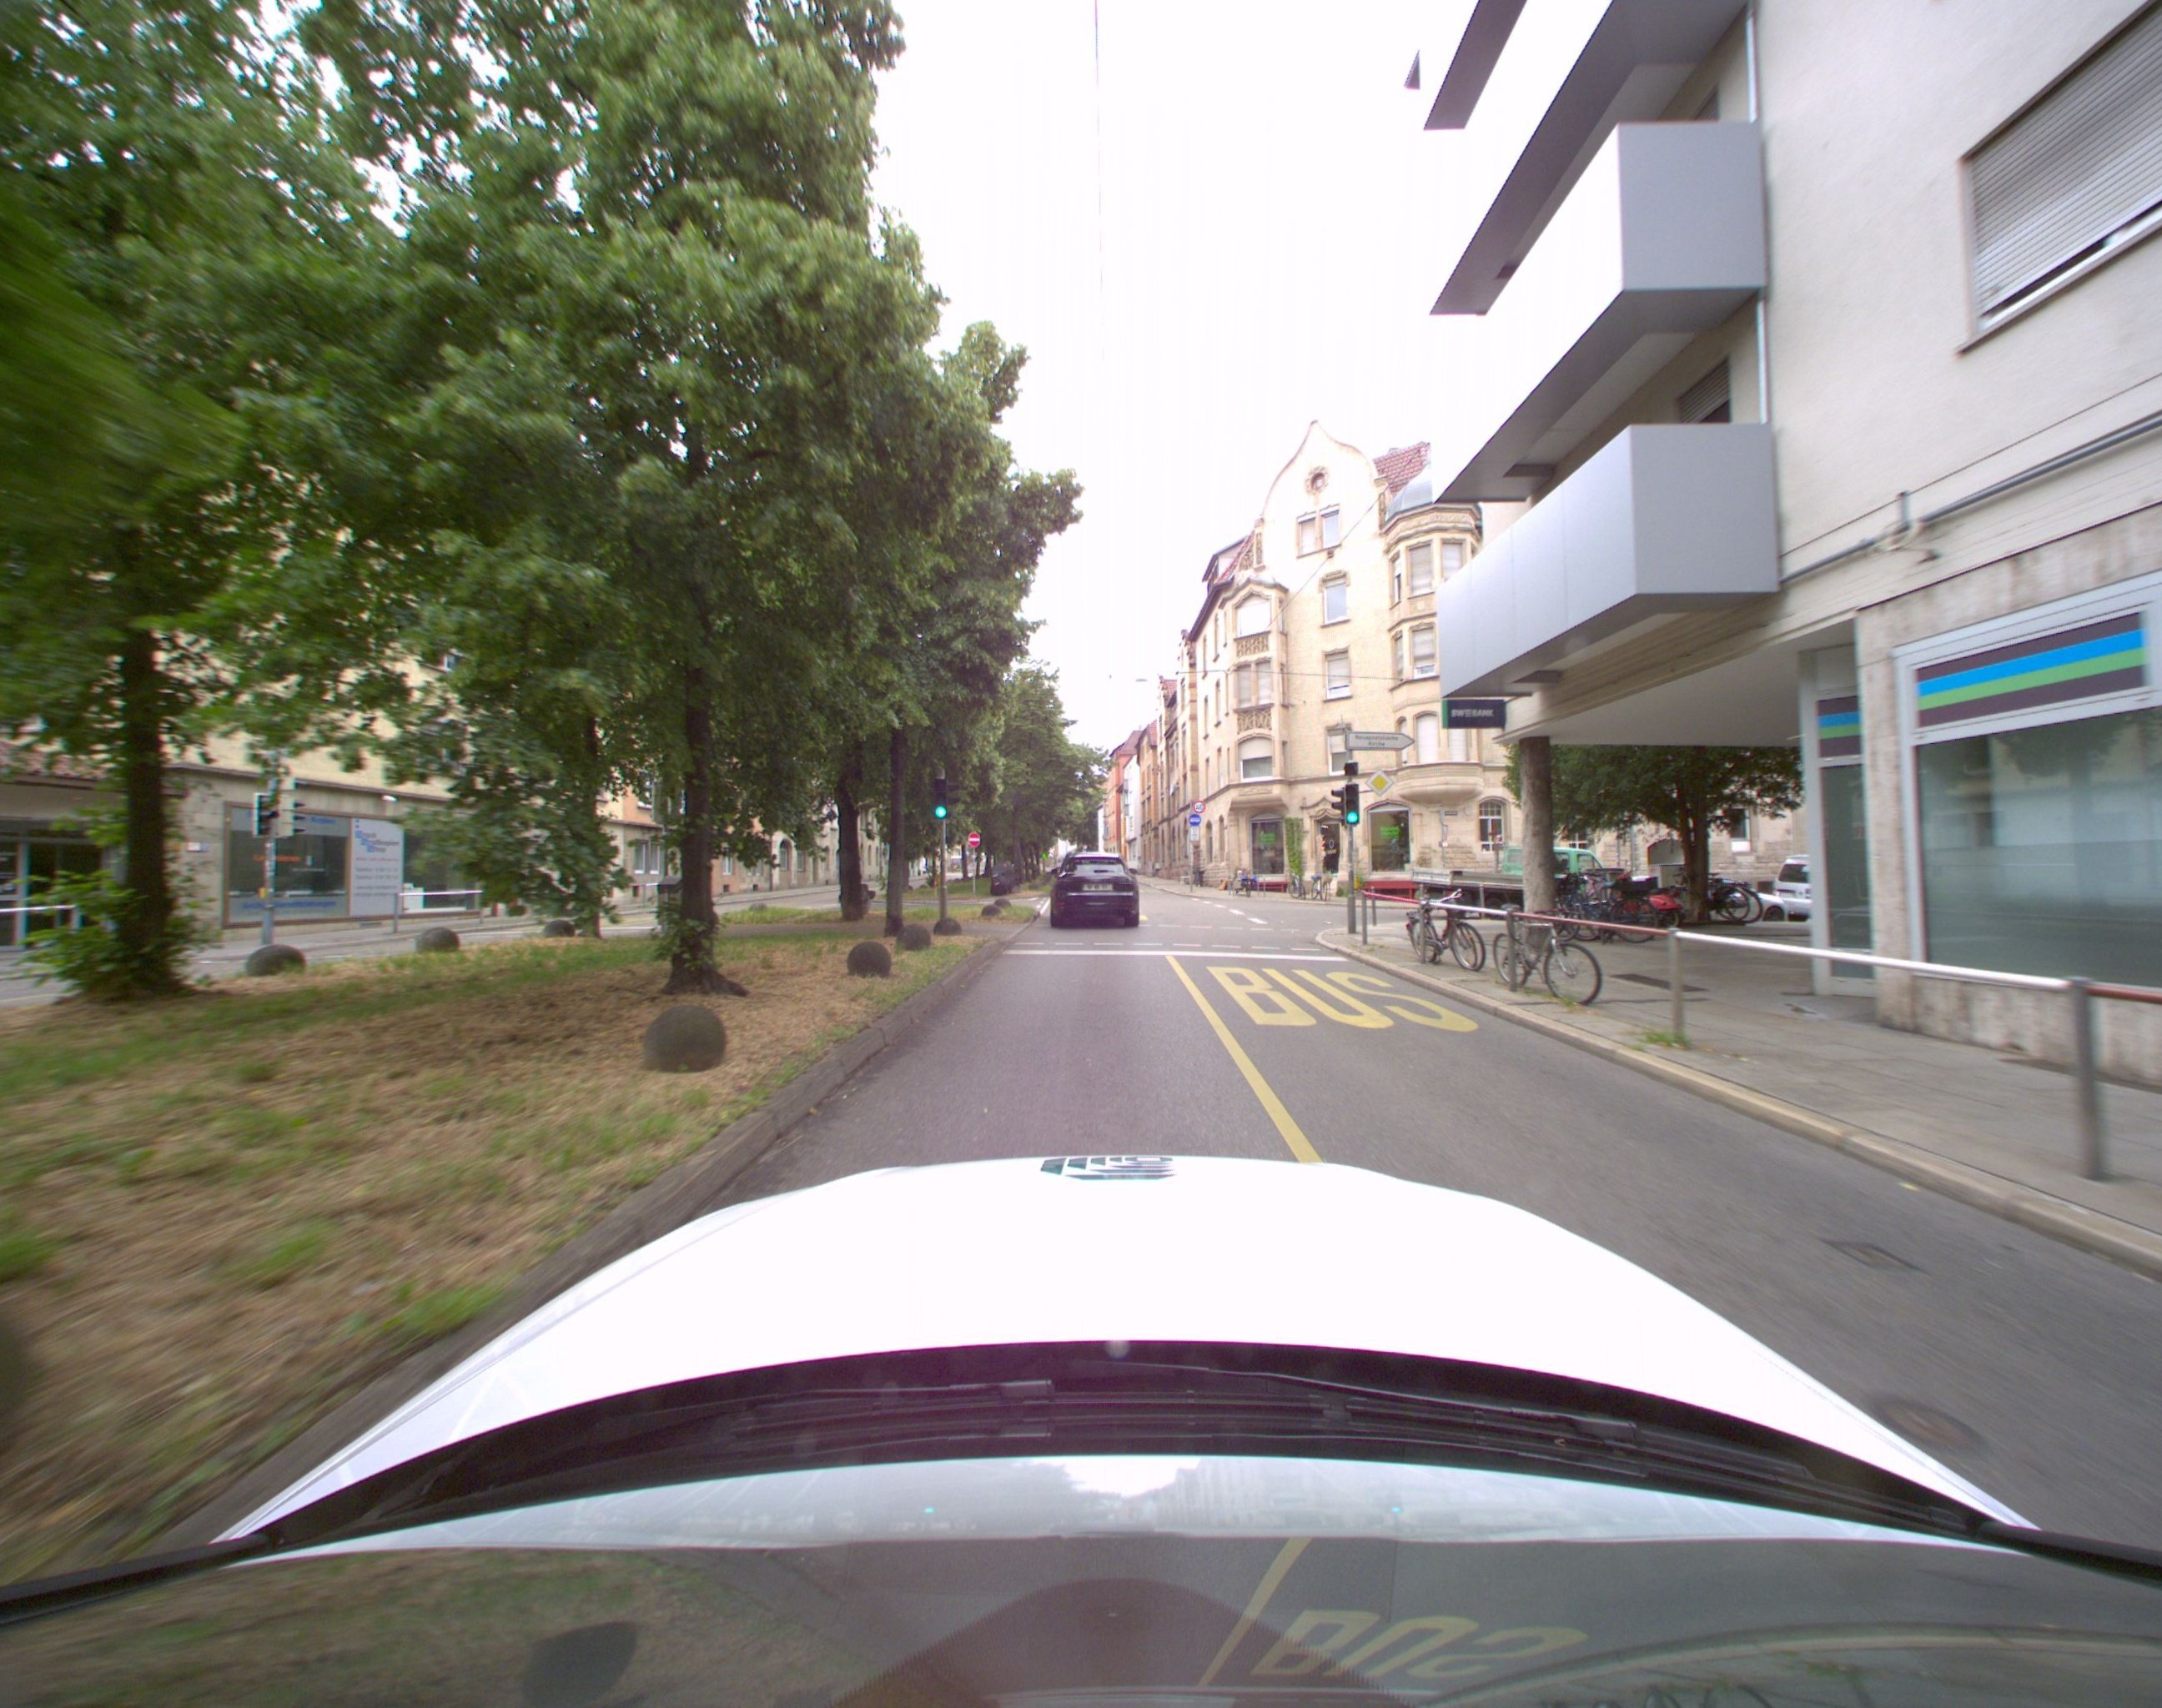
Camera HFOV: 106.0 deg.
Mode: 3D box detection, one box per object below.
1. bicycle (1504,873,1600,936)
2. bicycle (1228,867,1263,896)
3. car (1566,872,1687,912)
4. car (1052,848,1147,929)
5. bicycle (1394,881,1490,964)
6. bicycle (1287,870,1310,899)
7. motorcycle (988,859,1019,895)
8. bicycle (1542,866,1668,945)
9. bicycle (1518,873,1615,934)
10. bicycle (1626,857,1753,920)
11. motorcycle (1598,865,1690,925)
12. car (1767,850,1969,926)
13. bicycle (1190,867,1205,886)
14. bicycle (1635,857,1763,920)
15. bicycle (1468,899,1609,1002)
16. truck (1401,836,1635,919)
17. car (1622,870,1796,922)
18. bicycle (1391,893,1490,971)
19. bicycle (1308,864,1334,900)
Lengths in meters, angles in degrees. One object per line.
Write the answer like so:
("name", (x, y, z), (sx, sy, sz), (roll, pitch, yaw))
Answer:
("bicycle", (8.422, 0.878, 14.644), (0.319, 1.043, 1.751), (0, -1, -16))
("bicycle", (6.735, 1.105, 33.532), (0.876, 1.129, 2.980), (0, -1, 1))
("car", (19.451, 1.364, 29.128), (3.370, 1.338, 1.561), (1, -3, -6))
("car", (0.337, 0.715, 19.108), (1.988, 1.665, 3.998), (0, 1, -2))
("bicycle", (5.072, 0.929, 11.567), (0.286, 1.054, 1.754), (0, -1, -11))
("bicycle", (8.484, 1.188, 31.803), (0.347, 1.059, 1.834), (2, 0, 0))
("motorcycle", (-3.282, 0.955, 34.696), (1.016, 1.446, 2.247), (-2, -1, 2))
("bicycle", (8.475, 0.799, 13.251), (0.320, 1.198, 1.744), (0, -1, -30))
("bicycle", (8.738, 0.862, 14.745), (0.319, 1.043, 1.751), (0, -1, -16))
("bicycle", (12.195, 0.672, 16.437), (0.278, 1.187, 2.314), (0, -1, -17))
("motorcycle", (10.940, 0.770, 15.888), (0.567, 1.106, 1.802), (0, -1, 2))
("car", (23.407, 0.995, 24.314), (4.456, 2.127, 1.879), (1, -1, -5))
("bicycle", (6.388, 1.247, 44.766), (0.445, 1.037, 2.248), (-2, -2, 0))
("bicycle", (12.456, 0.672, 16.524), (0.278, 1.187, 2.314), (0, -1, -17))
("bicycle", (4.881, 0.994, 8.830), (0.567, 0.931, 1.775), (0, -1, 2))
("truck", (12.286, 0.652, 23.112), (5.557, 2.133, 2.375), (1, 0, -9))
("car", (18.287, 1.203, 23.808), (3.805, 1.407, 1.843), (1, -1, -5))
("bicycle", (4.892, 1.026, 11.195), (0.286, 0.931, 1.754), (0, -1, -11))
("bicycle", (9.255, 1.070, 31.493), (0.445, 1.161, 1.835), (-2, 4, 0))
